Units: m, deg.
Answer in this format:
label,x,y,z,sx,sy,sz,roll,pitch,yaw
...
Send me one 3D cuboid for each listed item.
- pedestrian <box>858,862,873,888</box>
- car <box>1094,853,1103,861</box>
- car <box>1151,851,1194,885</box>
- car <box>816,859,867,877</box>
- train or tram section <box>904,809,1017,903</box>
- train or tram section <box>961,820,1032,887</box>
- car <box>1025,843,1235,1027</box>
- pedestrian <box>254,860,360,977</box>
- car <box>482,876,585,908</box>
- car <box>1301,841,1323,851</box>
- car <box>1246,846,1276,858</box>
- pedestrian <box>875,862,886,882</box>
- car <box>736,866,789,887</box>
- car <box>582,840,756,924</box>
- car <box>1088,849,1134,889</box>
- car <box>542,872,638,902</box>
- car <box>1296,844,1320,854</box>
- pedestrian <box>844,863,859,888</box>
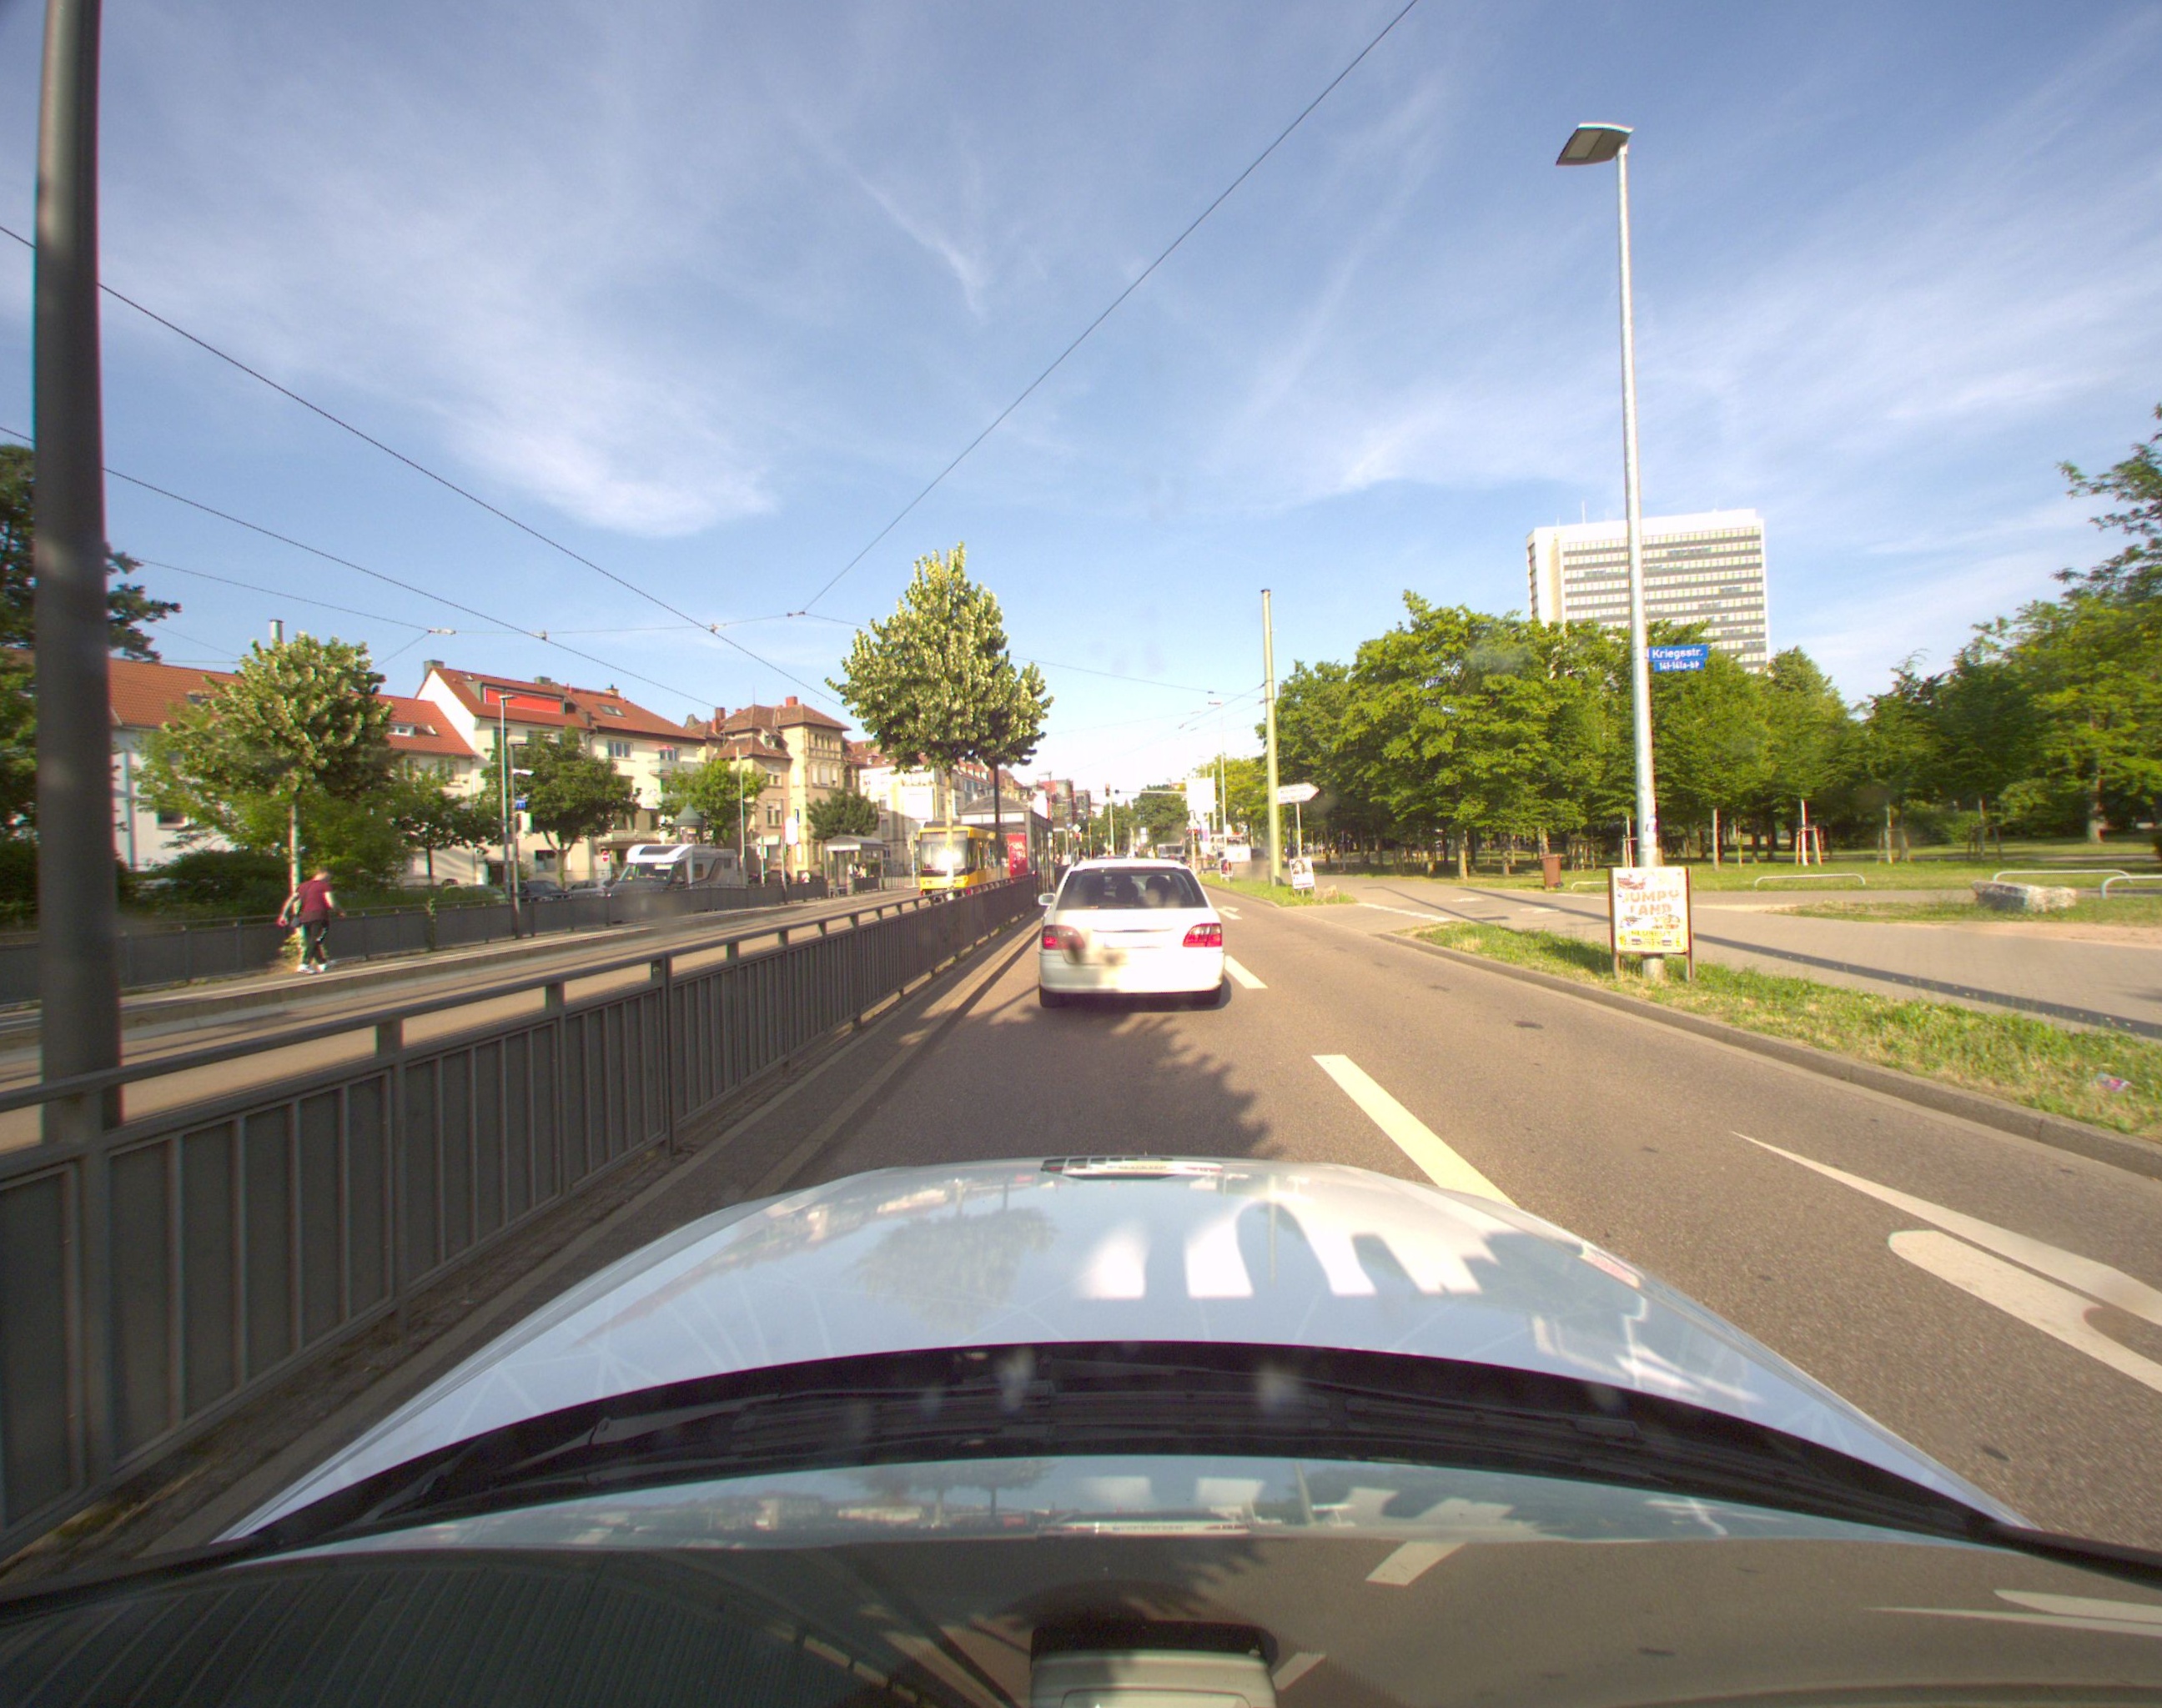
label,x,y,z,sx,sy,sz,roll,pitch,yaw
pedestrian,-15.116,1.468,57.249,0.886,1.753,0.743,-2,0,-9
car,4.295,0.776,200.509,1.986,2.013,4.001,-3,0,1
car,4.670,0.680,41.631,2.023,1.605,4.007,-2,0,6
car,-23.614,1.387,80.559,2.183,1.628,4.744,-2,0,25
train or tram section,-5.040,0.011,37.200,2.839,3.479,13.203,-1,0,1
train or tram section,-4.917,-0.049,50.206,2.840,3.479,13.198,-2,0,0
car,0.456,0.699,9.003,1.752,1.503,4.000,-2,0,1
pedestrian,-12.097,0.989,12.752,0.832,1.733,0.773,-3,0,2
car,-26.419,1.828,39.310,3.956,1.398,2.009,-2,0,16
car,44.370,-1.524,156.091,3.956,1.651,2.009,-3,0,16
car,27.324,-0.306,123.391,3.949,1.651,2.012,-3,0,27
pedestrian,-18.046,1.657,73.344,0.662,1.753,0.747,-2,0,6
car,-28.171,1.977,72.022,3.954,1.750,2.010,-2,0,19
car,-15.319,0.915,31.089,2.587,2.735,7.471,-2,0,2
car,1.432,0.624,37.194,1.778,1.690,4.007,-2,0,6
car,-25.305,1.705,41.993,3.956,1.398,2.009,-2,0,16
car,41.983,-0.856,150.516,4.006,1.651,1.984,-3,0,-25
pedestrian,-16.064,1.494,57.104,0.886,1.753,0.743,-2,0,-9
